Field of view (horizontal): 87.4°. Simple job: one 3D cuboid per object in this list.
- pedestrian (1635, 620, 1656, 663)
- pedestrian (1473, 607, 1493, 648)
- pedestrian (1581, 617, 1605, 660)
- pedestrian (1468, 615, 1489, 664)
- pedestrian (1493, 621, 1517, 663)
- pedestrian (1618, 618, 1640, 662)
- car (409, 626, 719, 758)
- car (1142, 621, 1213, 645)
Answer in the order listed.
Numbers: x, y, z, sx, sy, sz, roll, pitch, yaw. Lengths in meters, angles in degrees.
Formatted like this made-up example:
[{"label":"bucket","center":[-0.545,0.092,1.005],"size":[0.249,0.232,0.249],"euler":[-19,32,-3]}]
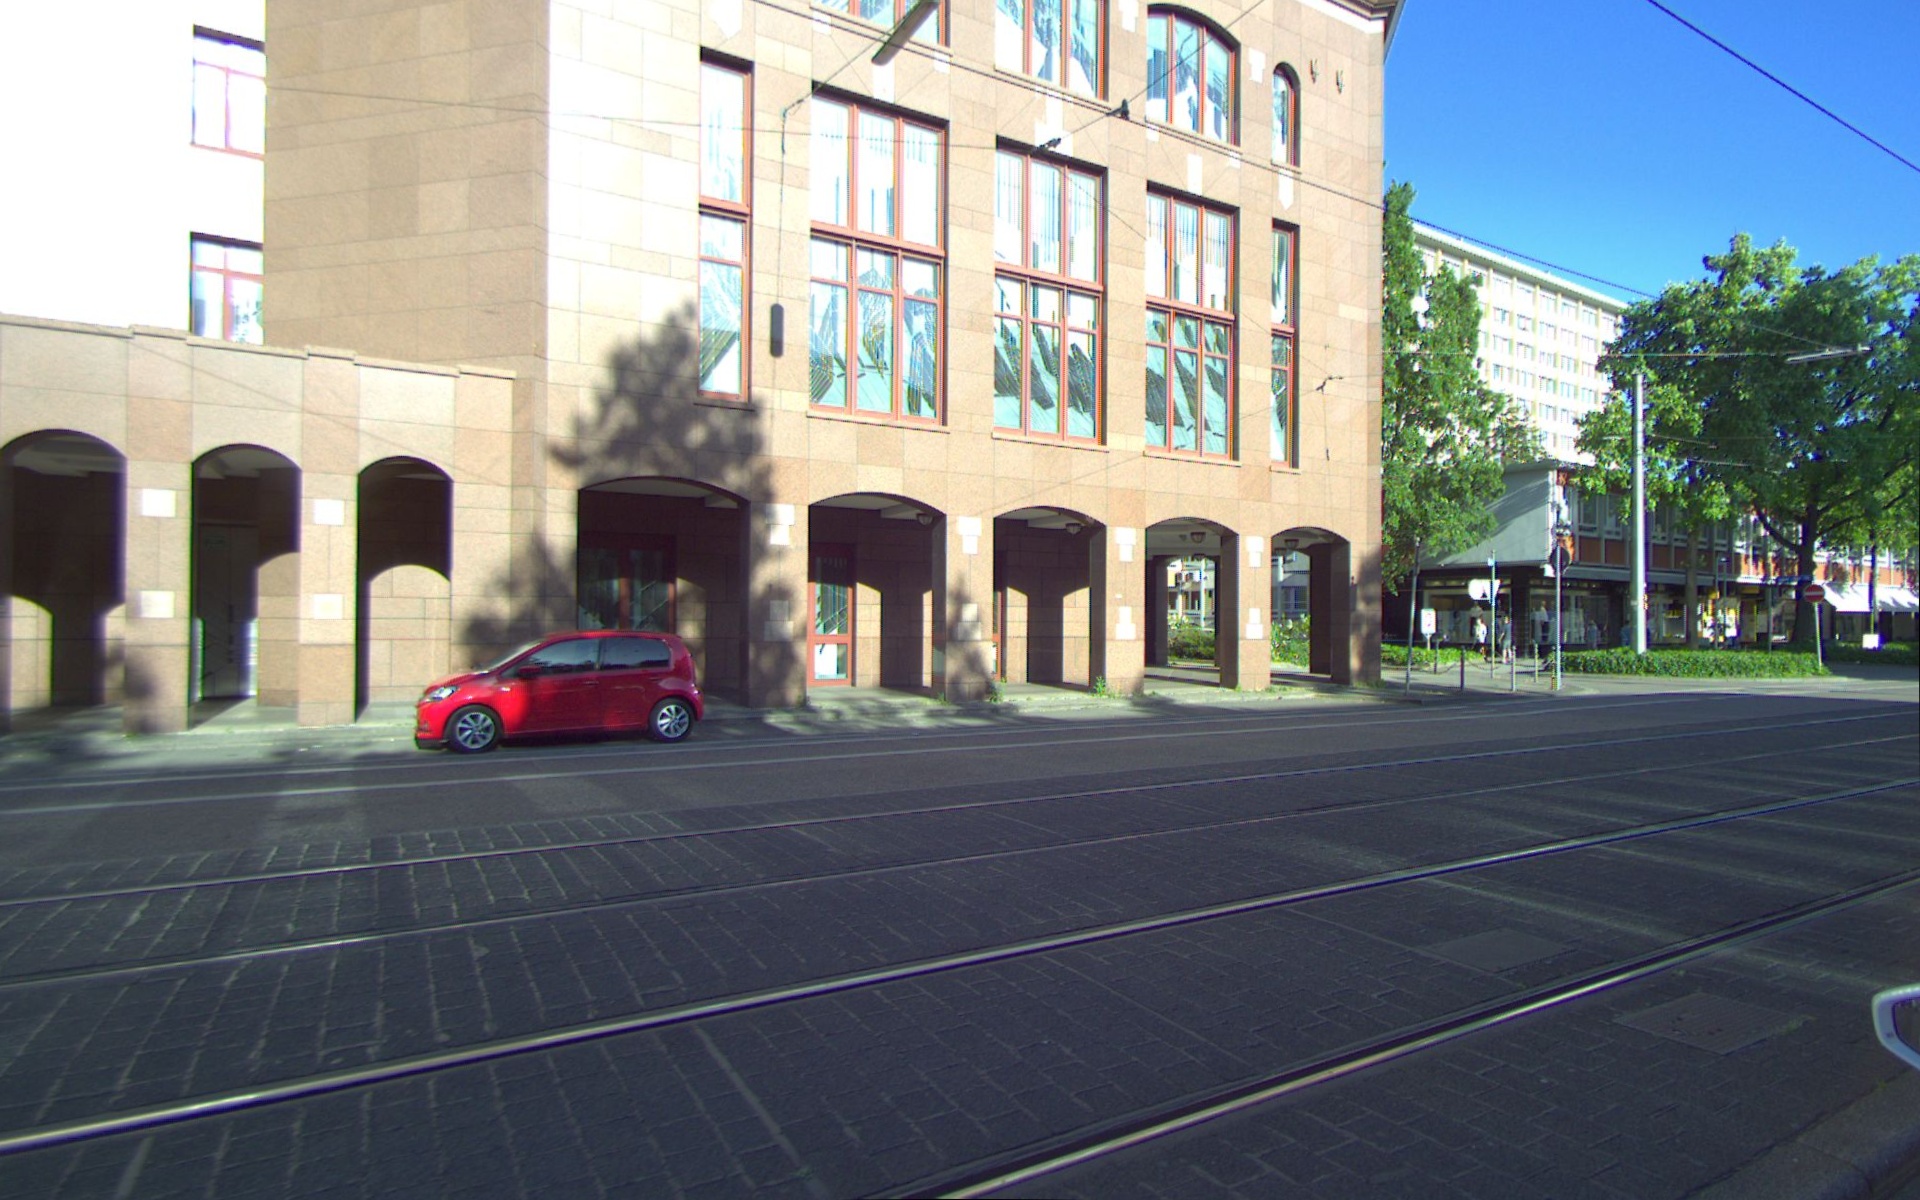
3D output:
[{"label":"pedestrian","center":[29.591,1.769,43.359],"size":[0.583,1.826,0.541],"euler":[1,1,-39]},{"label":"pedestrian","center":[23.934,1.255,45.973],"size":[0.532,1.808,0.588],"euler":[1,1,-30]},{"label":"pedestrian","center":[27.827,1.684,44.138],"size":[0.666,1.872,0.623],"euler":[1,1,-33]},{"label":"pedestrian","center":[22.614,1.715,43.822],"size":[0.591,2.094,0.669],"euler":[2,1,15]},{"label":"pedestrian","center":[22.591,1.723,41.649],"size":[0.697,1.716,0.523],"euler":[0,-1,-6]},{"label":"pedestrian","center":[29.218,1.735,43.866],"size":[0.533,1.897,0.586],"euler":[1,1,-39]},{"label":"car","center":[-5.182,1.119,13.217],"size":[3.578,1.441,1.651],"euler":[1,1,-31]},{"label":"car","center":[15.273,2.307,70.413],"size":[5.155,1.575,1.979],"euler":[1,1,-36]}]
